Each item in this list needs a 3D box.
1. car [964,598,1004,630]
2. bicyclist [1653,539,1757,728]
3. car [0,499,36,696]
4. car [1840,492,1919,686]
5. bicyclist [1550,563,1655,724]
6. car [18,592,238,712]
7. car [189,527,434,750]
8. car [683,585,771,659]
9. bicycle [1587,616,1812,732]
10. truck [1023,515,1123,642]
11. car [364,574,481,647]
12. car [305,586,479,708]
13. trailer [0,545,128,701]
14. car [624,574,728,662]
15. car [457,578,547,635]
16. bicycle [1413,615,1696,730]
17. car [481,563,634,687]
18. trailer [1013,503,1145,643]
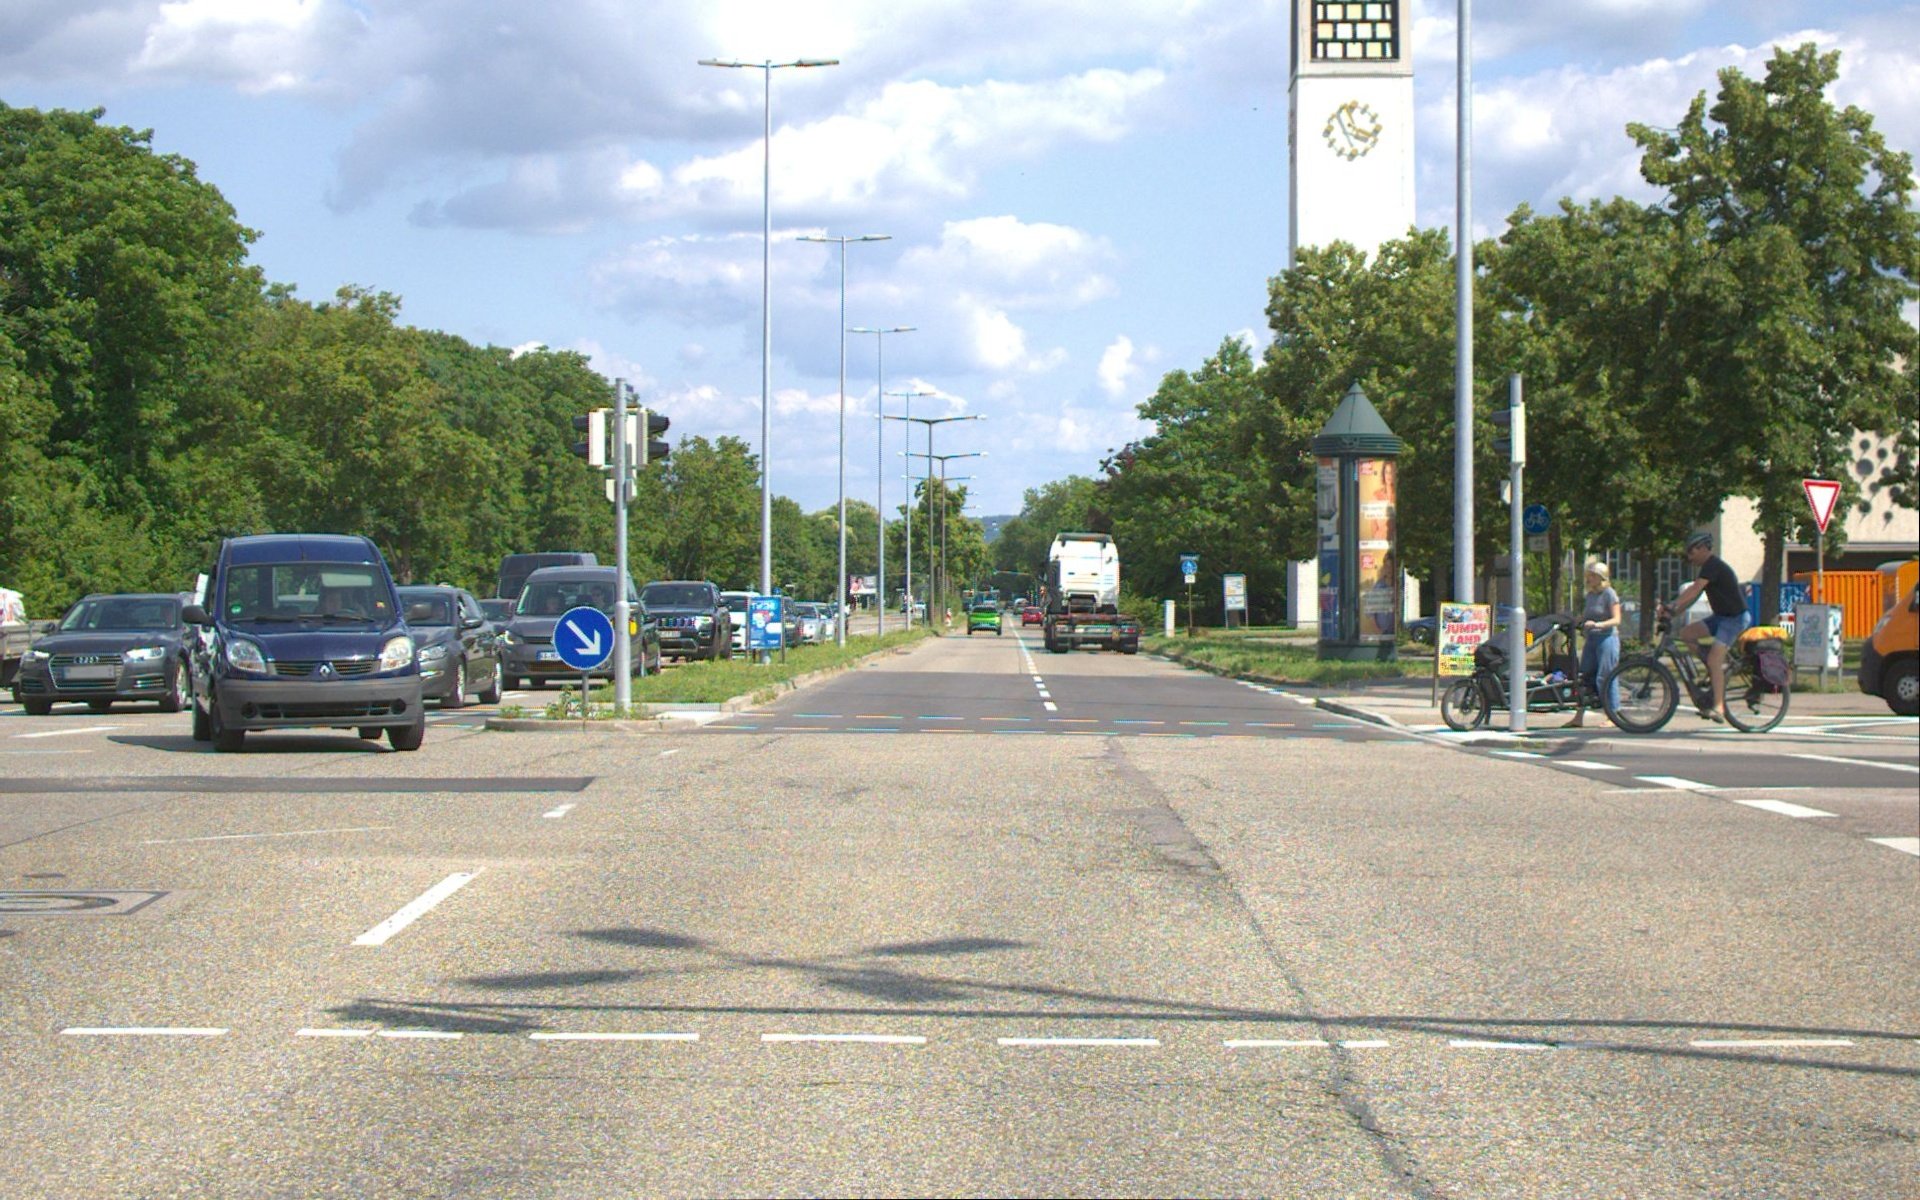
[{"bbox_3d":[1.233,0.724,179.222,1.993,1.547,4.000,2,0,-1],"label":"car"},{"bbox_3d":[7.170,0.315,33.098,0.786,1.798,0.686,0,0,-6],"label":"bicyclist"},{"bbox_3d":[-13.189,-0.069,41.254,2.174,2.463,5.966,2,0,4],"label":"car"},{"bbox_3d":[12.762,-0.061,39.076,2.205,2.218,4.857,2,0,-42],"label":"car"},{"bbox_3d":[6.509,0.432,34.837,0.698,1.610,0.797,0,0,-24],"label":"bicyclist"},{"bbox_3d":[-9.757,0.587,40.535,1.763,1.347,3.519,0,0,-1],"label":"car"},{"bbox_3d":[-5.429,0.286,28.432,1.734,1.654,4.232,2,0,-13],"label":"car"},{"bbox_3d":[-5.524,0.519,81.960,1.734,1.654,4.231,2,0,0],"label":"car"},{"bbox_3d":[7.109,0.706,33.093,1.996,1.090,0.686,0,0,-6],"label":"bicycle"},{"bbox_3d":[3.747,-0.647,112.510,2.960,3.957,8.636,1,-1,4],"label":"truck"},{"bbox_3d":[-9.665,0.188,61.986,1.548,1.213,3.490,2,0,-1],"label":"car"},{"bbox_3d":[-6.608,0.525,40.237,1.568,1.311,3.432,2,0,-3],"label":"car"},{"bbox_3d":[-13.185,0.270,46.808,2.124,2.007,5.161,2,0,3],"label":"trailer"},{"bbox_3d":[-5.693,0.355,69.415,1.734,1.654,4.231,2,0,-1],"label":"car"},{"bbox_3d":[-10.330,0.139,77.697,1.548,1.213,3.490,2,0,-1],"label":"car"},{"bbox_3d":[5.996,0.719,34.621,2.832,1.108,0.797,0,1,-24],"label":"bicycle"},{"bbox_3d":[-5.907,0.327,50.864,1.734,1.654,4.231,2,1,0],"label":"car"},{"bbox_3d":[3.726,-0.726,104.619,3.621,3.998,11.317,1,0,4],"label":"trailer"}]
